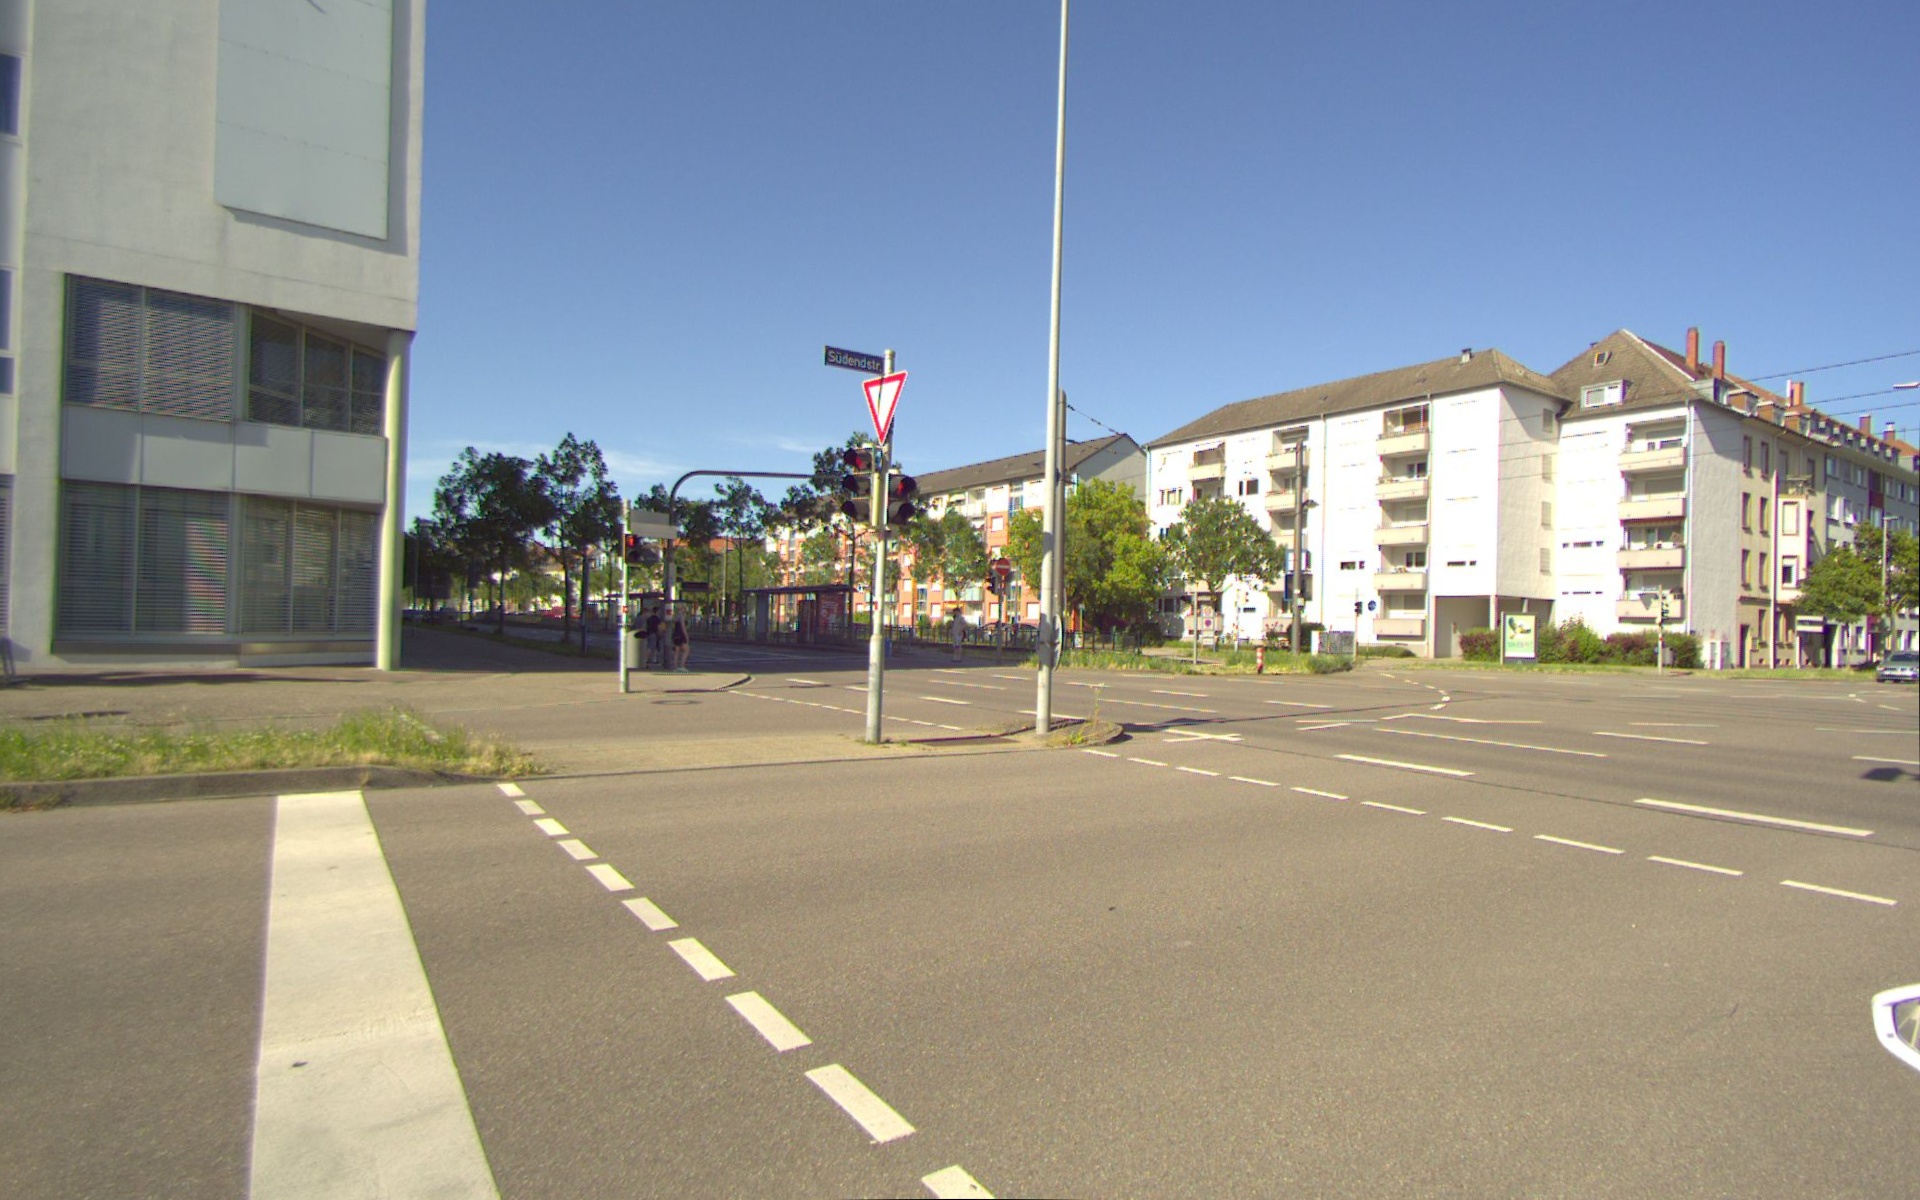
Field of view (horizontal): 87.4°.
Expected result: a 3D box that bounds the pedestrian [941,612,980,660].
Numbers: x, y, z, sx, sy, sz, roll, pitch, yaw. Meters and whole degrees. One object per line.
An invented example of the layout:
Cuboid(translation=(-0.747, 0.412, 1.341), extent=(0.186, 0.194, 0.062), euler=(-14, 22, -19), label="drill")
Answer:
Cuboid(translation=(0.022, 1.313, 36.666), extent=(1.145, 1.749, 0.804), euler=(2, -2, -39), label="pedestrian")

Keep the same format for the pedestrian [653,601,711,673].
Cuboid(translation=(-6.957, 0.921, 25.174), extent=(1.145, 1.749, 0.804), euler=(2, -2, -39), label="pedestrian")

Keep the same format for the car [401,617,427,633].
Cuboid(translation=(-55.091, 2.489, 101.345), extent=(1.765, 1.540, 3.960), euler=(2, -2, -36), label="car")

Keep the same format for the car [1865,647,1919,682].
Cuboid(translation=(43.434, 2.958, 46.079), extent=(4.352, 1.451, 1.678), euler=(3, 0, -33), label="car")

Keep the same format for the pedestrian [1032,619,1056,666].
Cuboid(translation=(3.190, 1.604, 38.074), extent=(0.797, 1.749, 1.155), euler=(1, -1, 7), label="pedestrian")

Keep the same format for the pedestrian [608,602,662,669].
Cuboid(translation=(-8.718, 0.955, 26.969), extent=(1.145, 1.749, 0.804), euler=(2, -2, -39), label="pedestrian")

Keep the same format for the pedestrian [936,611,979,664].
Cuboid(translation=(-0.086, 1.293, 34.774), extent=(1.145, 1.794, 0.913), euler=(2, -2, -39), label="pedestrian")

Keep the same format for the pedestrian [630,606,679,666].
Cuboid(translation=(-9.045, 1.066, 29.774), extent=(1.145, 1.749, 0.804), euler=(2, -2, -39), label="pedestrian")

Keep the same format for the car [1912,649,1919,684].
Cuboid(translation=(42.050, 2.897, 42.390), extent=(4.353, 1.451, 1.678), euler=(3, 0, -33), label="car")

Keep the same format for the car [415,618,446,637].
Cuboid(translation=(-44.913, 2.358, 85.211), extent=(1.765, 1.540, 3.960), euler=(2, -2, -36), label="car")

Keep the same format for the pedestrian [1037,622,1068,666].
Cuboid(translation=(3.374, 1.607, 36.777), extent=(0.851, 1.554, 0.718), euler=(2, -2, -39), label="pedestrian")

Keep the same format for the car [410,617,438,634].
Cuboid(translation=(-49.616, 2.343, 92.985), extent=(1.765, 1.540, 3.960), euler=(2, -2, -36), label="car")

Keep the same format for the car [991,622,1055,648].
Cuboid(translation=(4.353, 2.417, 69.416), extent=(4.311, 1.451, 1.694), euler=(3, 0, 4), label="car")
